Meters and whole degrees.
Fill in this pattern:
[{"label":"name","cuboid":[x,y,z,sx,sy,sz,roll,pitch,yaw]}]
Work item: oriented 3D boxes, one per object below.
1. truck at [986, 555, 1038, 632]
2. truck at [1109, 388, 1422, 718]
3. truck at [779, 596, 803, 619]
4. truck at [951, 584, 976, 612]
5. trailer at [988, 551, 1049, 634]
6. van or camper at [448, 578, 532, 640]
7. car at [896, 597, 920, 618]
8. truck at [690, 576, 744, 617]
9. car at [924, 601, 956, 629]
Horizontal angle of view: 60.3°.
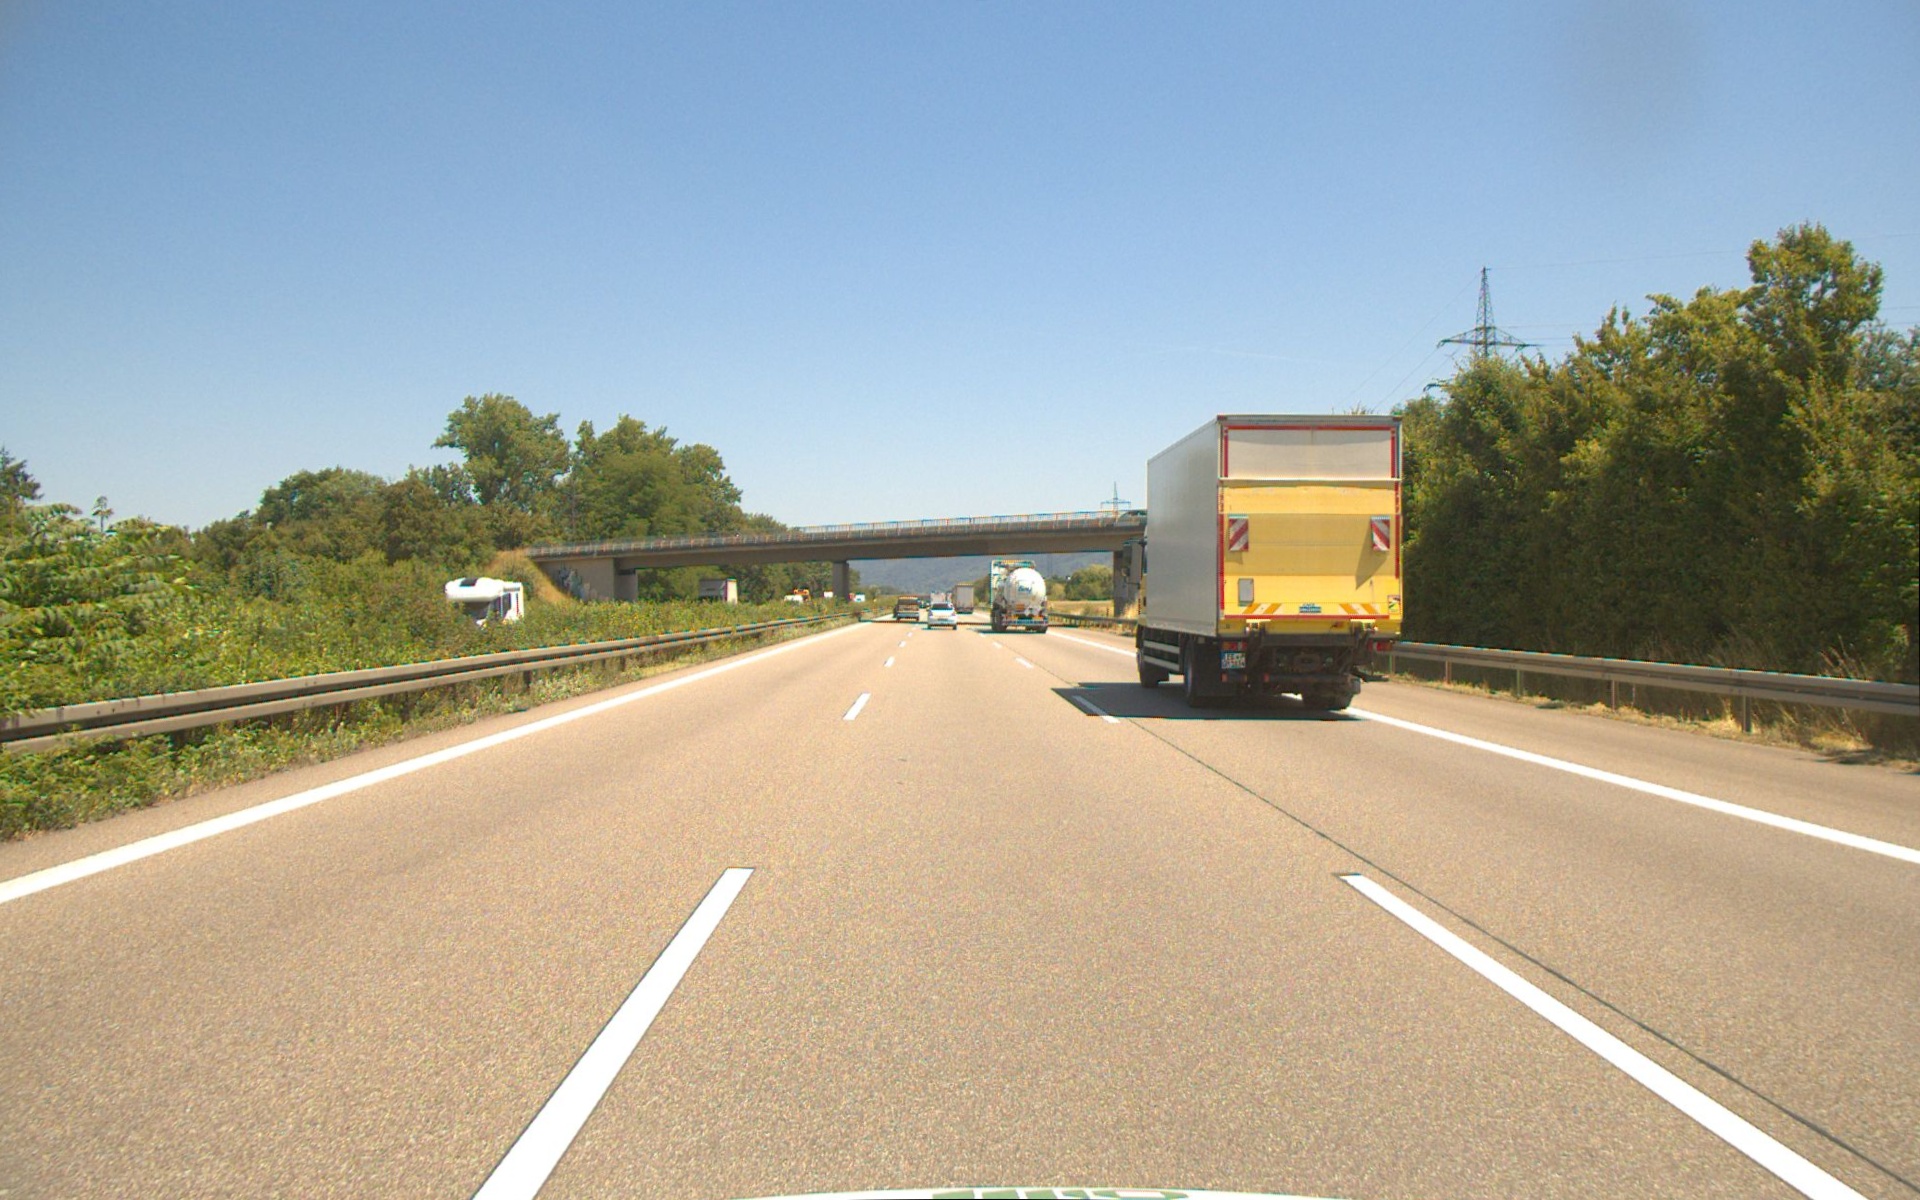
[{"label":"truck","cuboid":[2.904,-0.378,93.531,2.521,4.143,6.391,1,0,-1]},{"label":"truck","cuboid":[4.501,-0.615,27.063,2.874,4.273,10.678,1,0,-1]},{"label":"truck","cuboid":[-18.372,0.774,180.032,1.953,2.440,6.419,1,0,0]},{"label":"truck","cuboid":[0.457,-0.238,238.648,3.199,3.925,11.628,1,0,-1]},{"label":"trailer","cuboid":[3.018,-0.379,88.586,2.528,4.145,11.100,1,0,-1]},{"label":"van or camper","cuboid":[-20.681,0.385,72.996,1.953,2.589,6.297,1,0,-1]},{"label":"car","cuboid":[-4.289,0.611,136.886,1.814,1.661,3.999,1,0,-1]},{"label":"truck","cuboid":[-22.171,-0.296,151.484,2.817,3.559,10.738,1,0,3]},{"label":"car","cuboid":[-1.123,0.836,94.184,1.770,1.494,3.999,1,0,-1]}]
